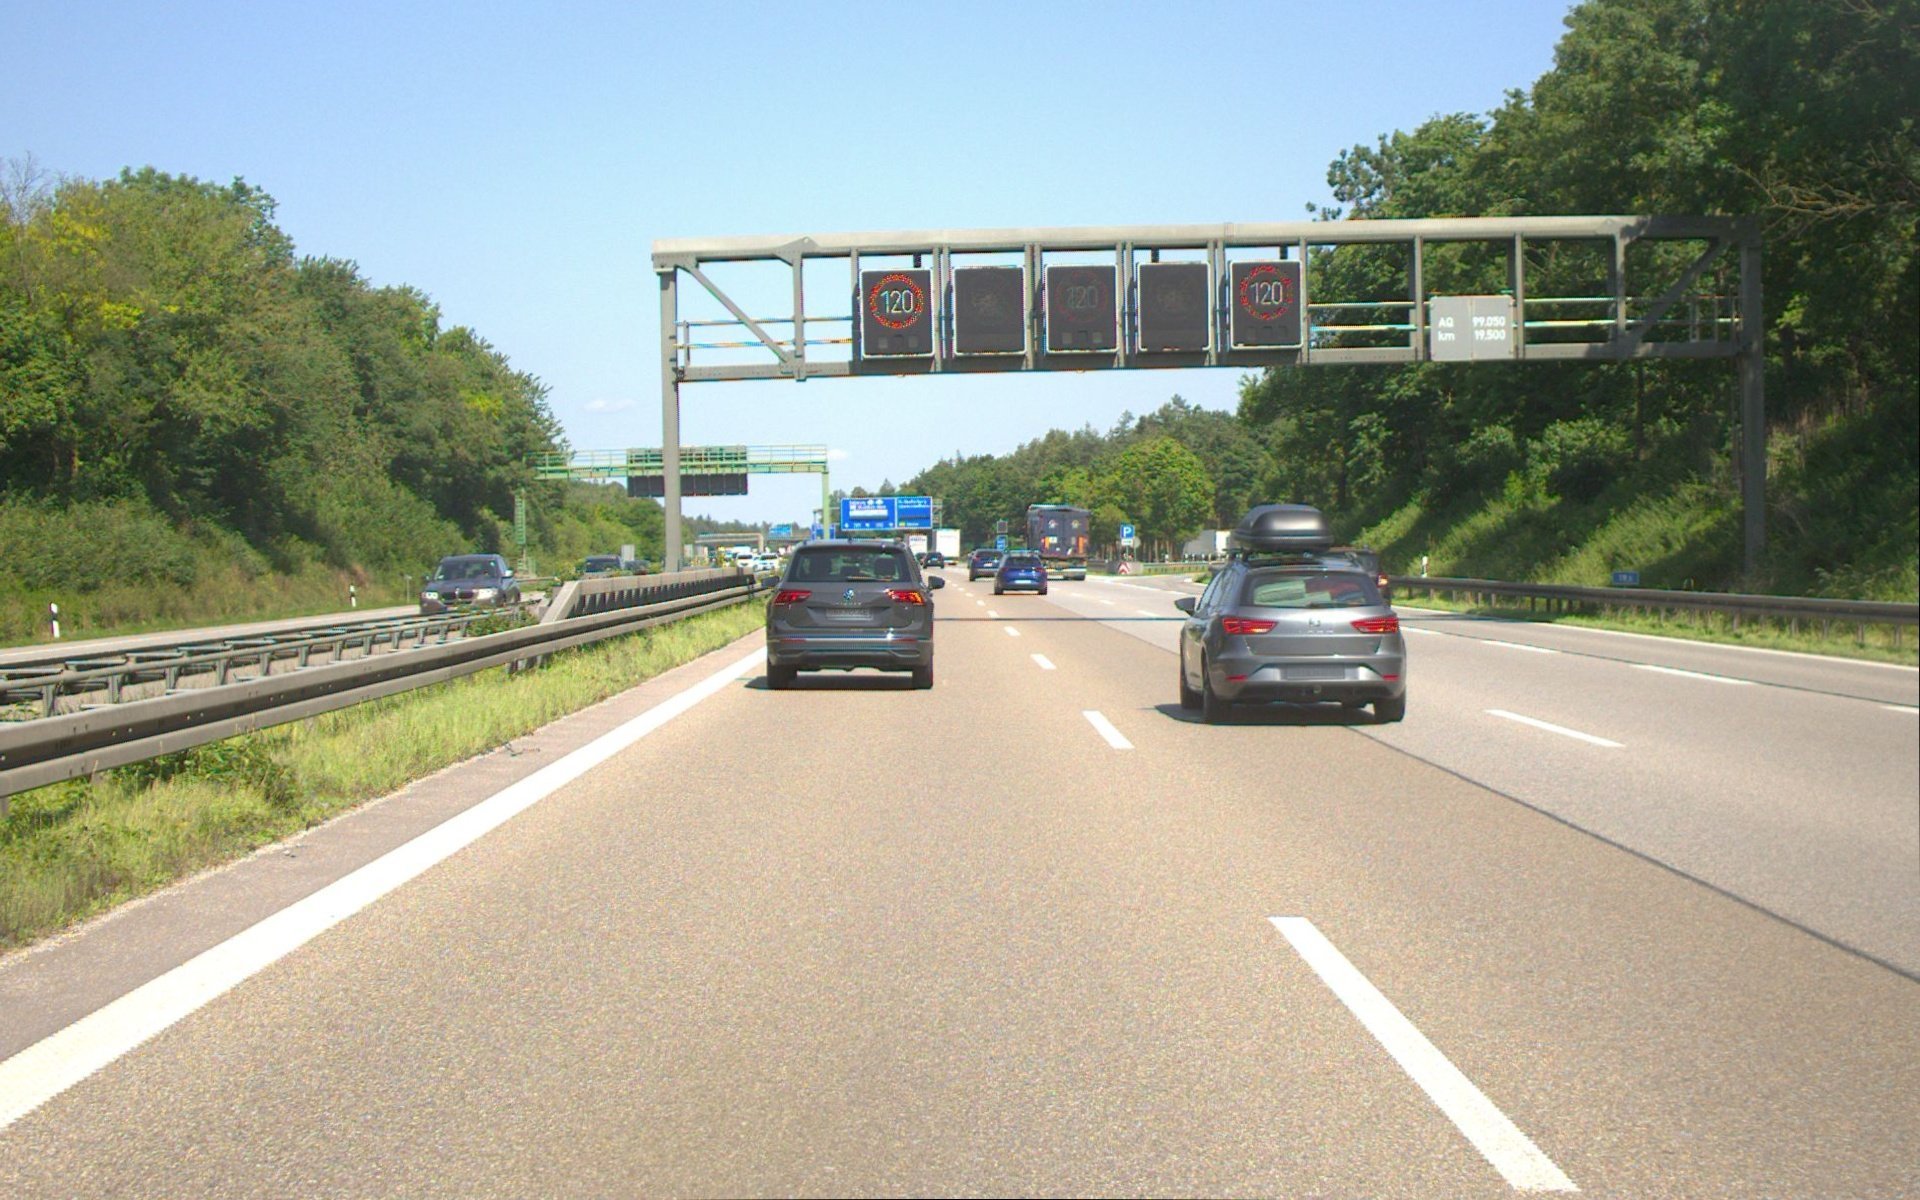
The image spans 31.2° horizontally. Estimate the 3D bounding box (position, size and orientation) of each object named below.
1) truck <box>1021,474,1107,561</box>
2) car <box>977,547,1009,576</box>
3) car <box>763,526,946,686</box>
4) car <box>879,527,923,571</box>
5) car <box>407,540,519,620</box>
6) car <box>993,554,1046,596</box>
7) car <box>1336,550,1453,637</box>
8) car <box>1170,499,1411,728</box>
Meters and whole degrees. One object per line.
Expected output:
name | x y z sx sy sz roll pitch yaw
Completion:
truck | 5.459 -4.315 182.884 3.780 4.407 14.052 0 1 -1
car | 1.646 -1.950 172.595 1.471 1.393 3.410 2 1 -1
car | -1.120 0.021 38.250 1.799 1.663 4.258 1 1 1
car | -2.759 -2.389 161.226 1.993 2.007 4.000 0 1 -1
car | -11.163 -0.480 77.437 1.807 1.636 4.801 -3 1 -1
car | 2.082 -0.889 119.530 1.765 1.377 4.258 1 1 1
car | 8.244 -0.145 65.571 1.765 1.563 4.258 1 1 1
car | 2.912 0.068 31.163 1.665 1.870 4.827 -2 1 0
